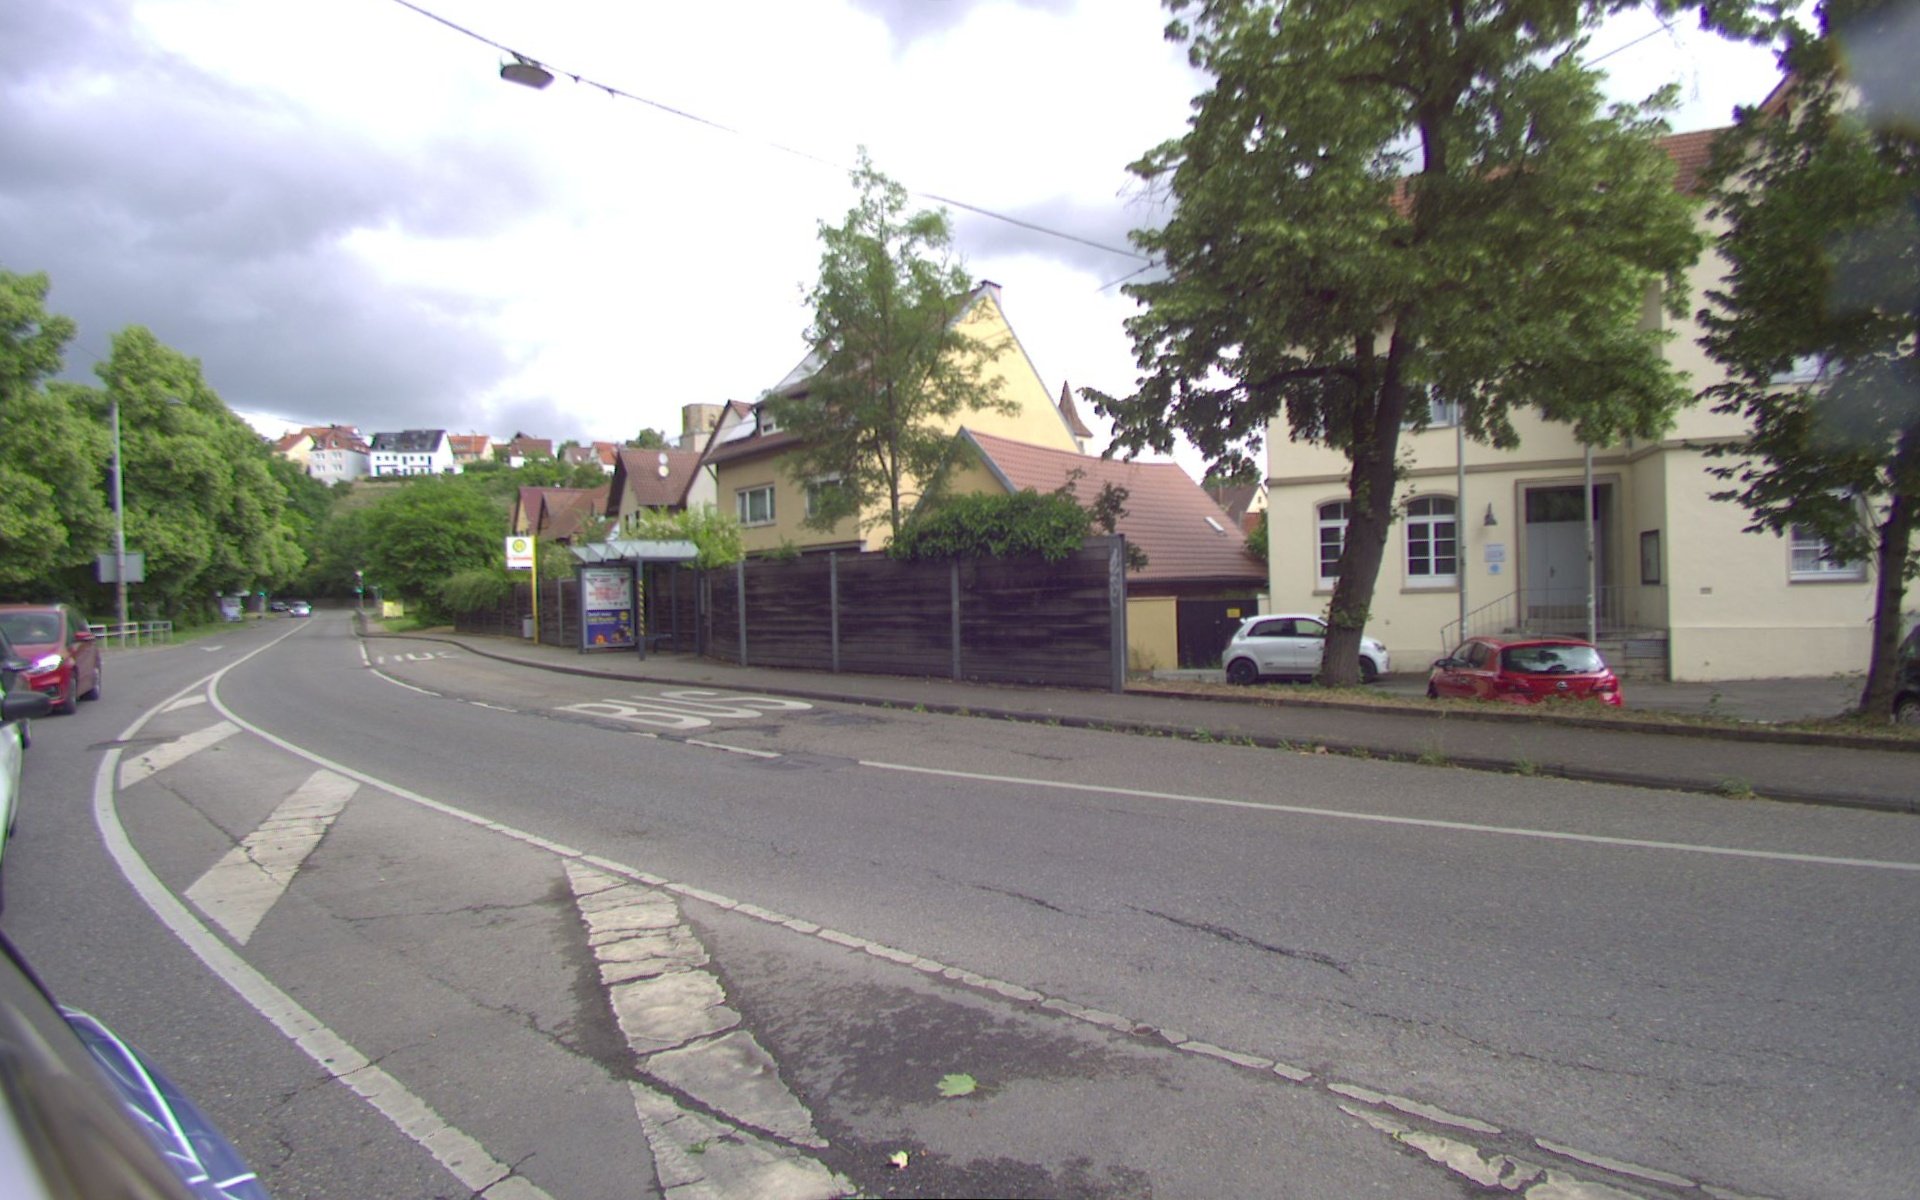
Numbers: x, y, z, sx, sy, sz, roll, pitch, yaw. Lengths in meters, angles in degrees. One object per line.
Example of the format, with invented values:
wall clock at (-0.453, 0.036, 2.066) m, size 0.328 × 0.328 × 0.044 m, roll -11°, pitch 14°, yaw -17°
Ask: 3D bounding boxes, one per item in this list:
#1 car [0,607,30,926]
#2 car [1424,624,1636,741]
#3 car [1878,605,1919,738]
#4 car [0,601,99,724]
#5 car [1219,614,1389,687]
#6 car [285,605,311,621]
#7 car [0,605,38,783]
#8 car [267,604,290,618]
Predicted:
car at (-6.030, 0.819, 5.281) m, size 1.594 × 1.525 × 3.610 m, roll -1°, pitch 0°, yaw -41°
car at (8.127, 1.107, 14.773) m, size 1.590 × 1.389 × 3.544 m, roll -1°, pitch 0°, yaw 10°
car at (12.701, 0.891, 11.590) m, size 1.586 × 1.644 × 3.093 m, roll -1°, pitch 0°, yaw 2°
car at (-14.508, 0.883, 15.443) m, size 1.800 × 1.685 × 4.067 m, roll -1°, pitch 0°, yaw -37°
car at (7.748, 1.111, 22.929) m, size 3.487 × 1.528 × 1.581 m, roll -1°, pitch 0°, yaw 20°
car at (-71.285, 1.411, 108.949) m, size 1.818 × 1.652 × 4.007 m, roll -1°, pitch 0°, yaw -40°
car at (-10.223, 0.857, 9.860) m, size 1.699 × 1.559 × 3.787 m, roll -1°, pitch 0°, yaw -41°
car at (-92.645, 1.518, 137.550) m, size 1.885 × 1.768 × 4.003 m, roll -2°, pitch 1°, yaw -44°
